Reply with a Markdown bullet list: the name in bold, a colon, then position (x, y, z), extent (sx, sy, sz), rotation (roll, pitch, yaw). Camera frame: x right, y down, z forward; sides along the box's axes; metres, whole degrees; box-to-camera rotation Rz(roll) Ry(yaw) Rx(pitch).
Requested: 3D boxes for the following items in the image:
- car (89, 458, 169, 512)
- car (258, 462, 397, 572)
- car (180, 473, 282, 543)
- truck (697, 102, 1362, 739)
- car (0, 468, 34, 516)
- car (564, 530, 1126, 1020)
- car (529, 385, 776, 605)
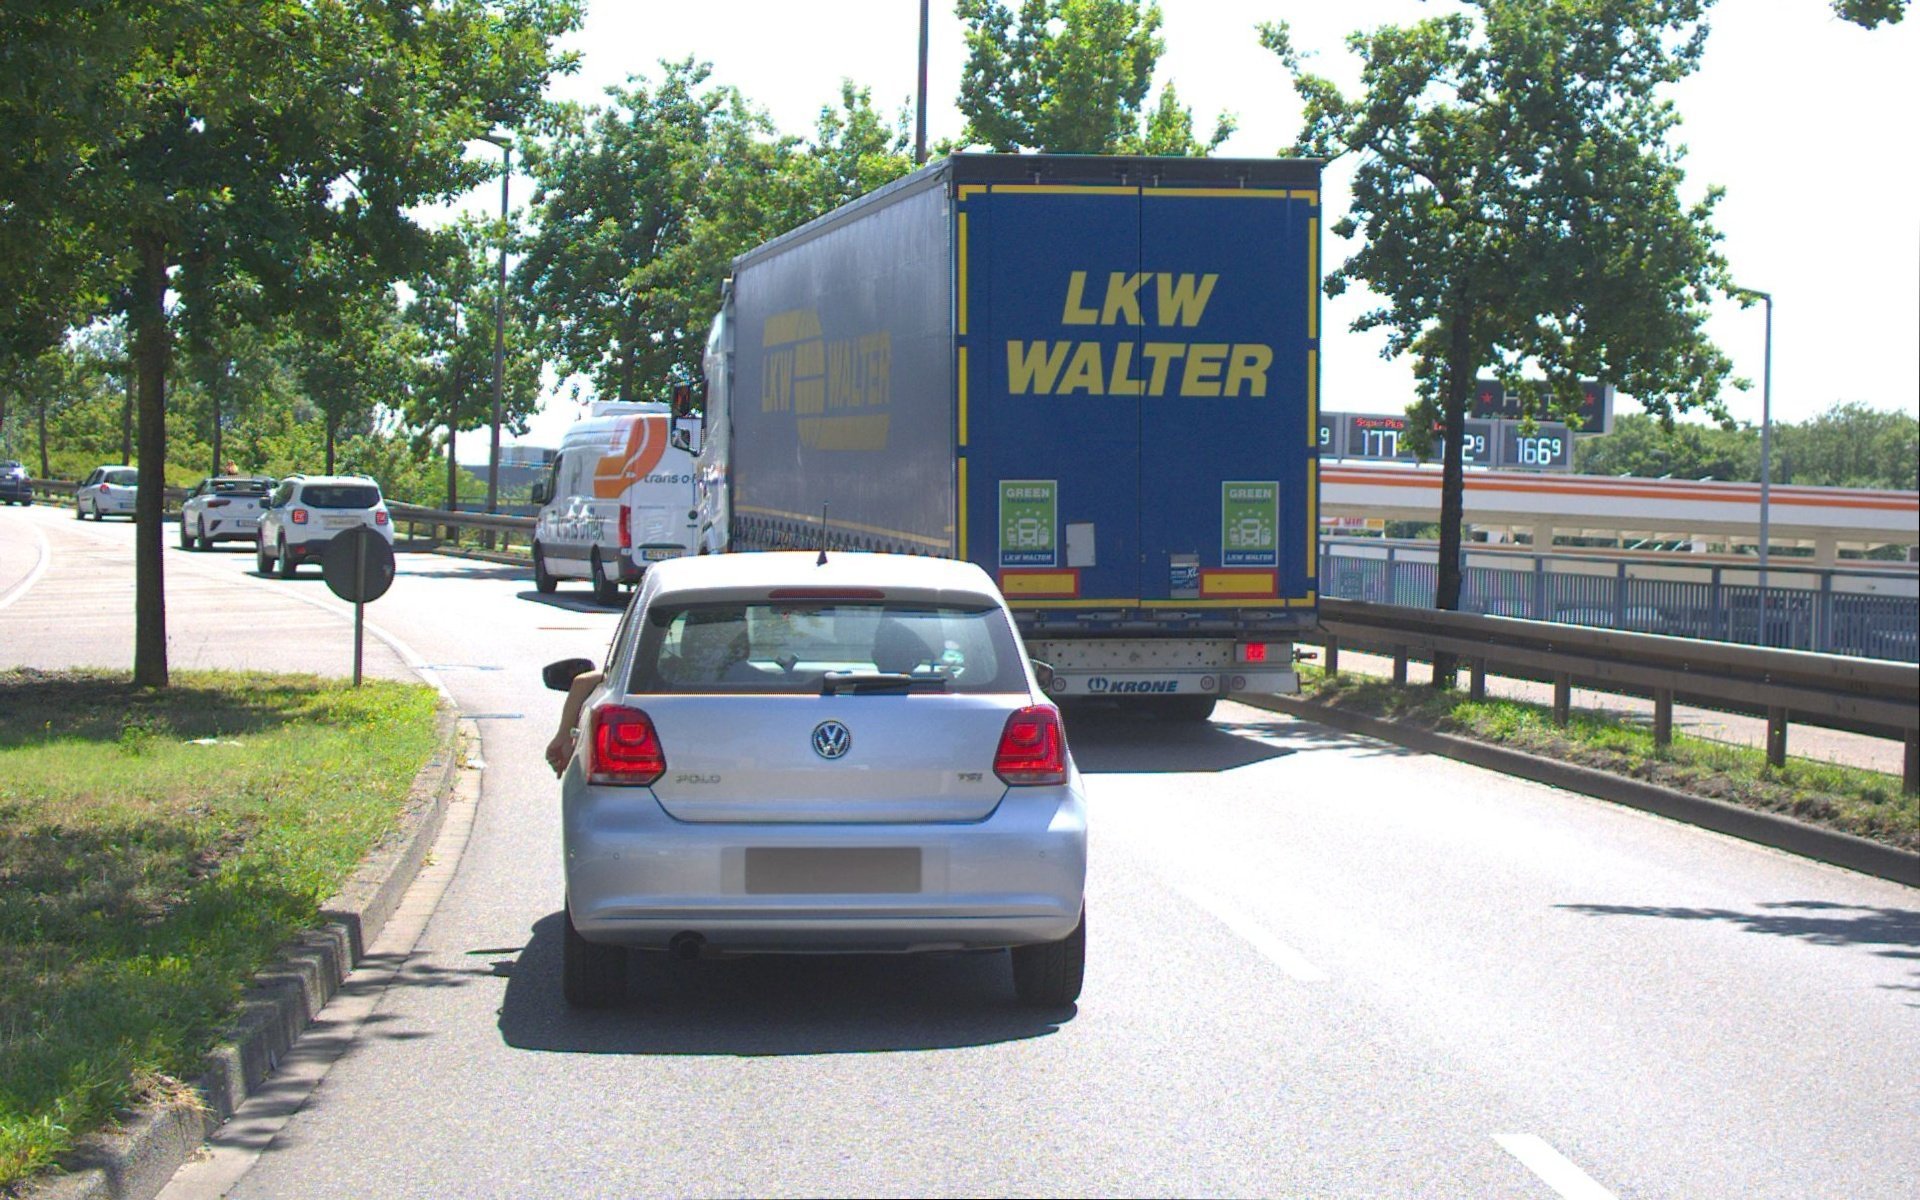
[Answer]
- **car**: position (-22.260, -3.069, 92.072), extent (1.607, 1.355, 3.664), rotation (1, 1, -21)
- **car**: position (-10.566, -1.357, 57.246), extent (1.903, 1.712, 4.225), rotation (1, 0, -15)
- **car**: position (-14.875, -1.872, 70.063), extent (1.494, 1.355, 3.664), rotation (1, 1, -20)
- **truck**: position (-0.137, -1.359, 31.185), extent (2.832, 4.184, 16.479), rotation (1, 1, -10)
- **car**: position (-30.454, -3.445, 109.649), extent (1.664, 1.460, 3.582), rotation (1, 0, -17)
- **car**: position (-0.506, 0.515, 12.036), extent (1.646, 1.434, 3.537), rotation (1, 0, -5)
- **car**: position (-4.507, -1.538, 49.267), extent (2.175, 2.890, 6.361), rotation (1, 2, -17)
